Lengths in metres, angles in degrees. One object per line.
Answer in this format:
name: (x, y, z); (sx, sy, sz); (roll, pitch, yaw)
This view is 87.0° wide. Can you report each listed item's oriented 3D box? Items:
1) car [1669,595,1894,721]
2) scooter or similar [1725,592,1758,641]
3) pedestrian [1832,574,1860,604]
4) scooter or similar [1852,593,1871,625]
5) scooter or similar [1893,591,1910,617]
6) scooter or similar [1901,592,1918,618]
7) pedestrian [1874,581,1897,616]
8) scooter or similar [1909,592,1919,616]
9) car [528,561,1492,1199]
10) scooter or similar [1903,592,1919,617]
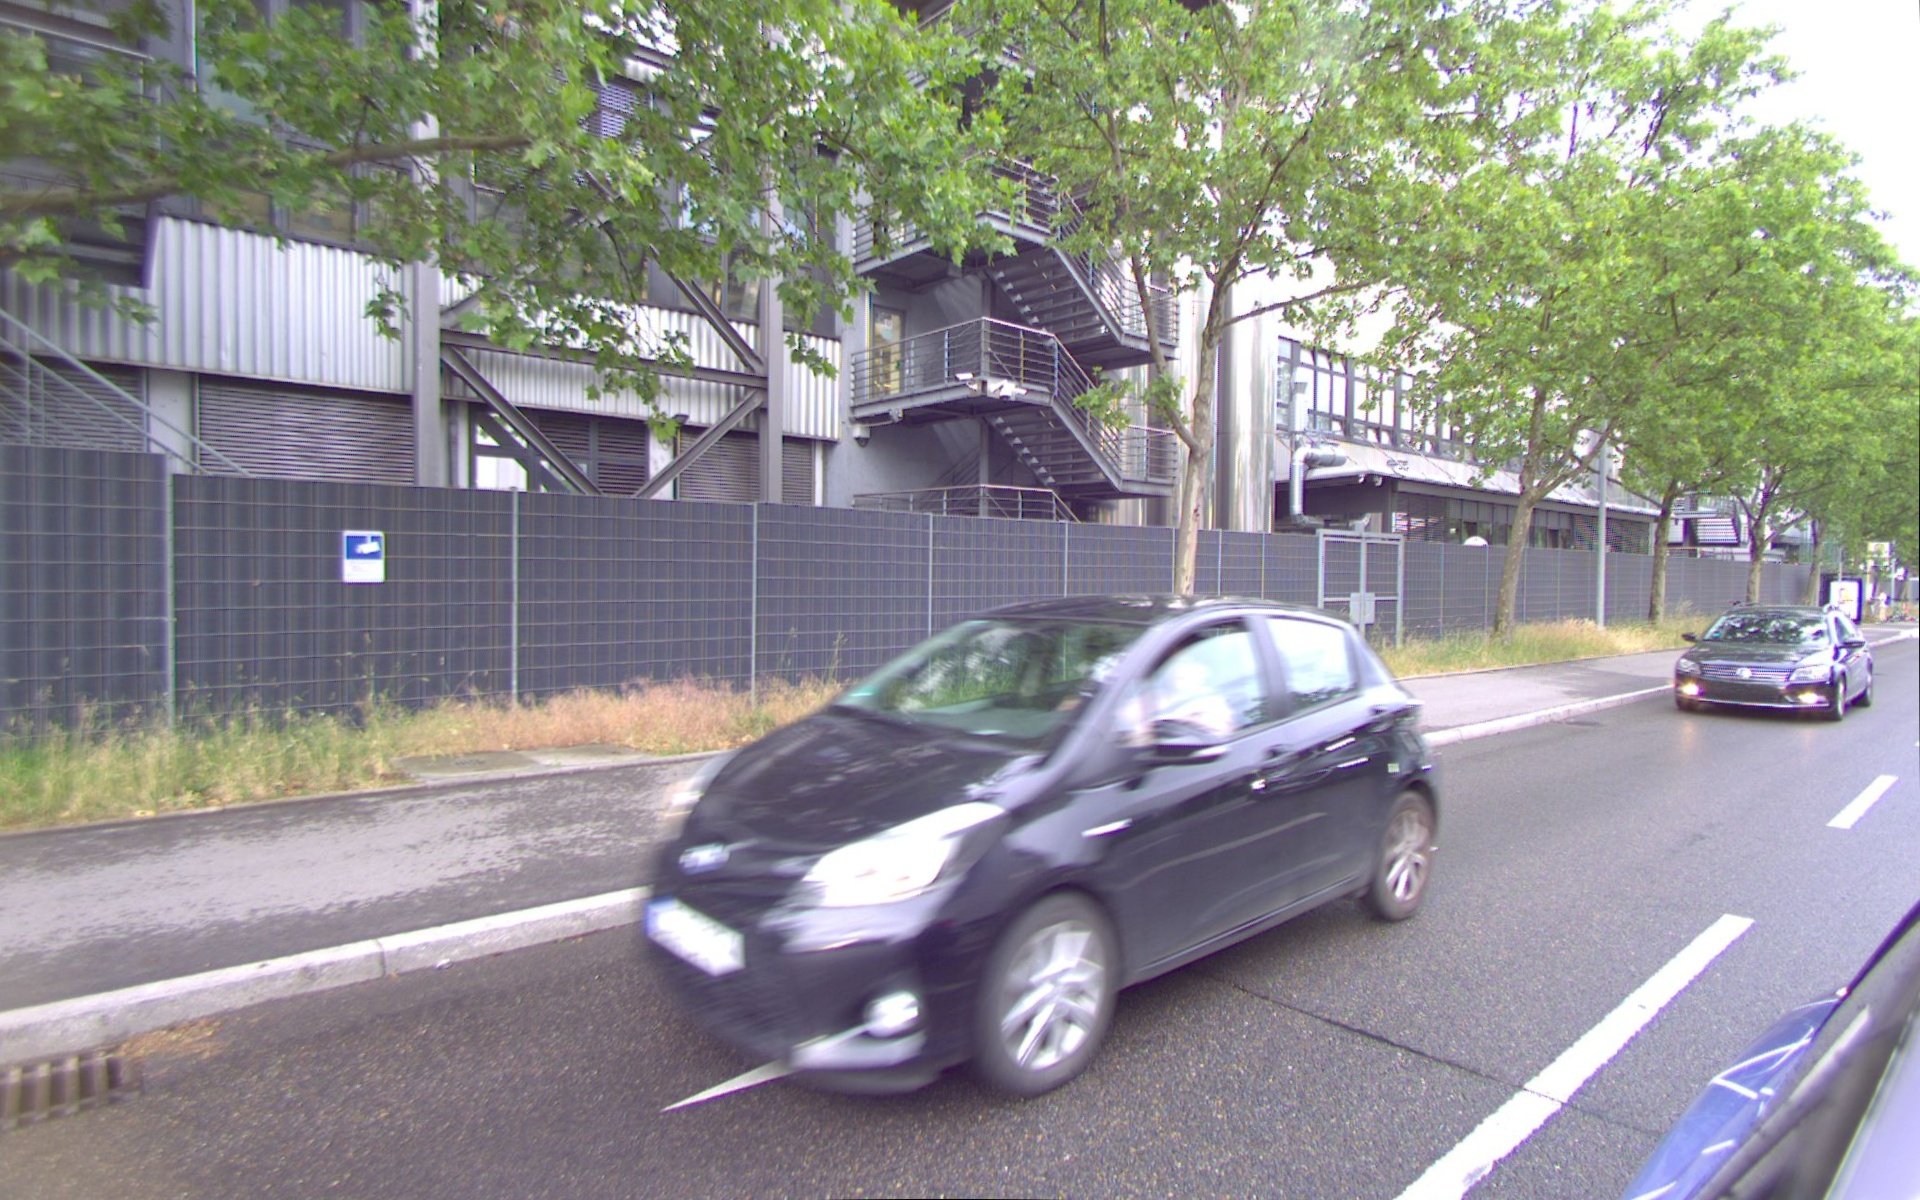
car: (11.613, 0.665, 14.176); (4.705, 1.471, 1.840); (0, 0, -43)
scooter or similar: (21.039, 0.430, 27.244); (1.087, 1.285, 0.330); (0, 1, -33)
pedestrian: (42.991, -0.551, 49.116); (0.686, 1.433, 0.932); (0, 2, -42)
scooter or similar: (37.352, 0.362, 41.942); (1.222, 1.325, 0.329); (0, 1, -37)
scooter or similar: (48.386, 0.216, 52.004); (1.277, 1.311, 0.437); (0, 1, -39)
scooter or similar: (49.535, 0.238, 52.805); (1.277, 1.311, 0.437); (0, 1, -39)
pedestrian: (46.454, -0.086, 50.801); (0.717, 1.731, 0.777); (0, 1, -42)
scooter or similar: (52.537, 0.213, 55.484); (1.341, 1.311, 0.437); (0, 1, -34)
car: (0.559, 0.652, 4.308); (4.010, 1.512, 1.877); (0, 3, -45)
scooter or similar: (51.025, 0.224, 54.273); (1.277, 1.311, 0.437); (0, 1, -39)
